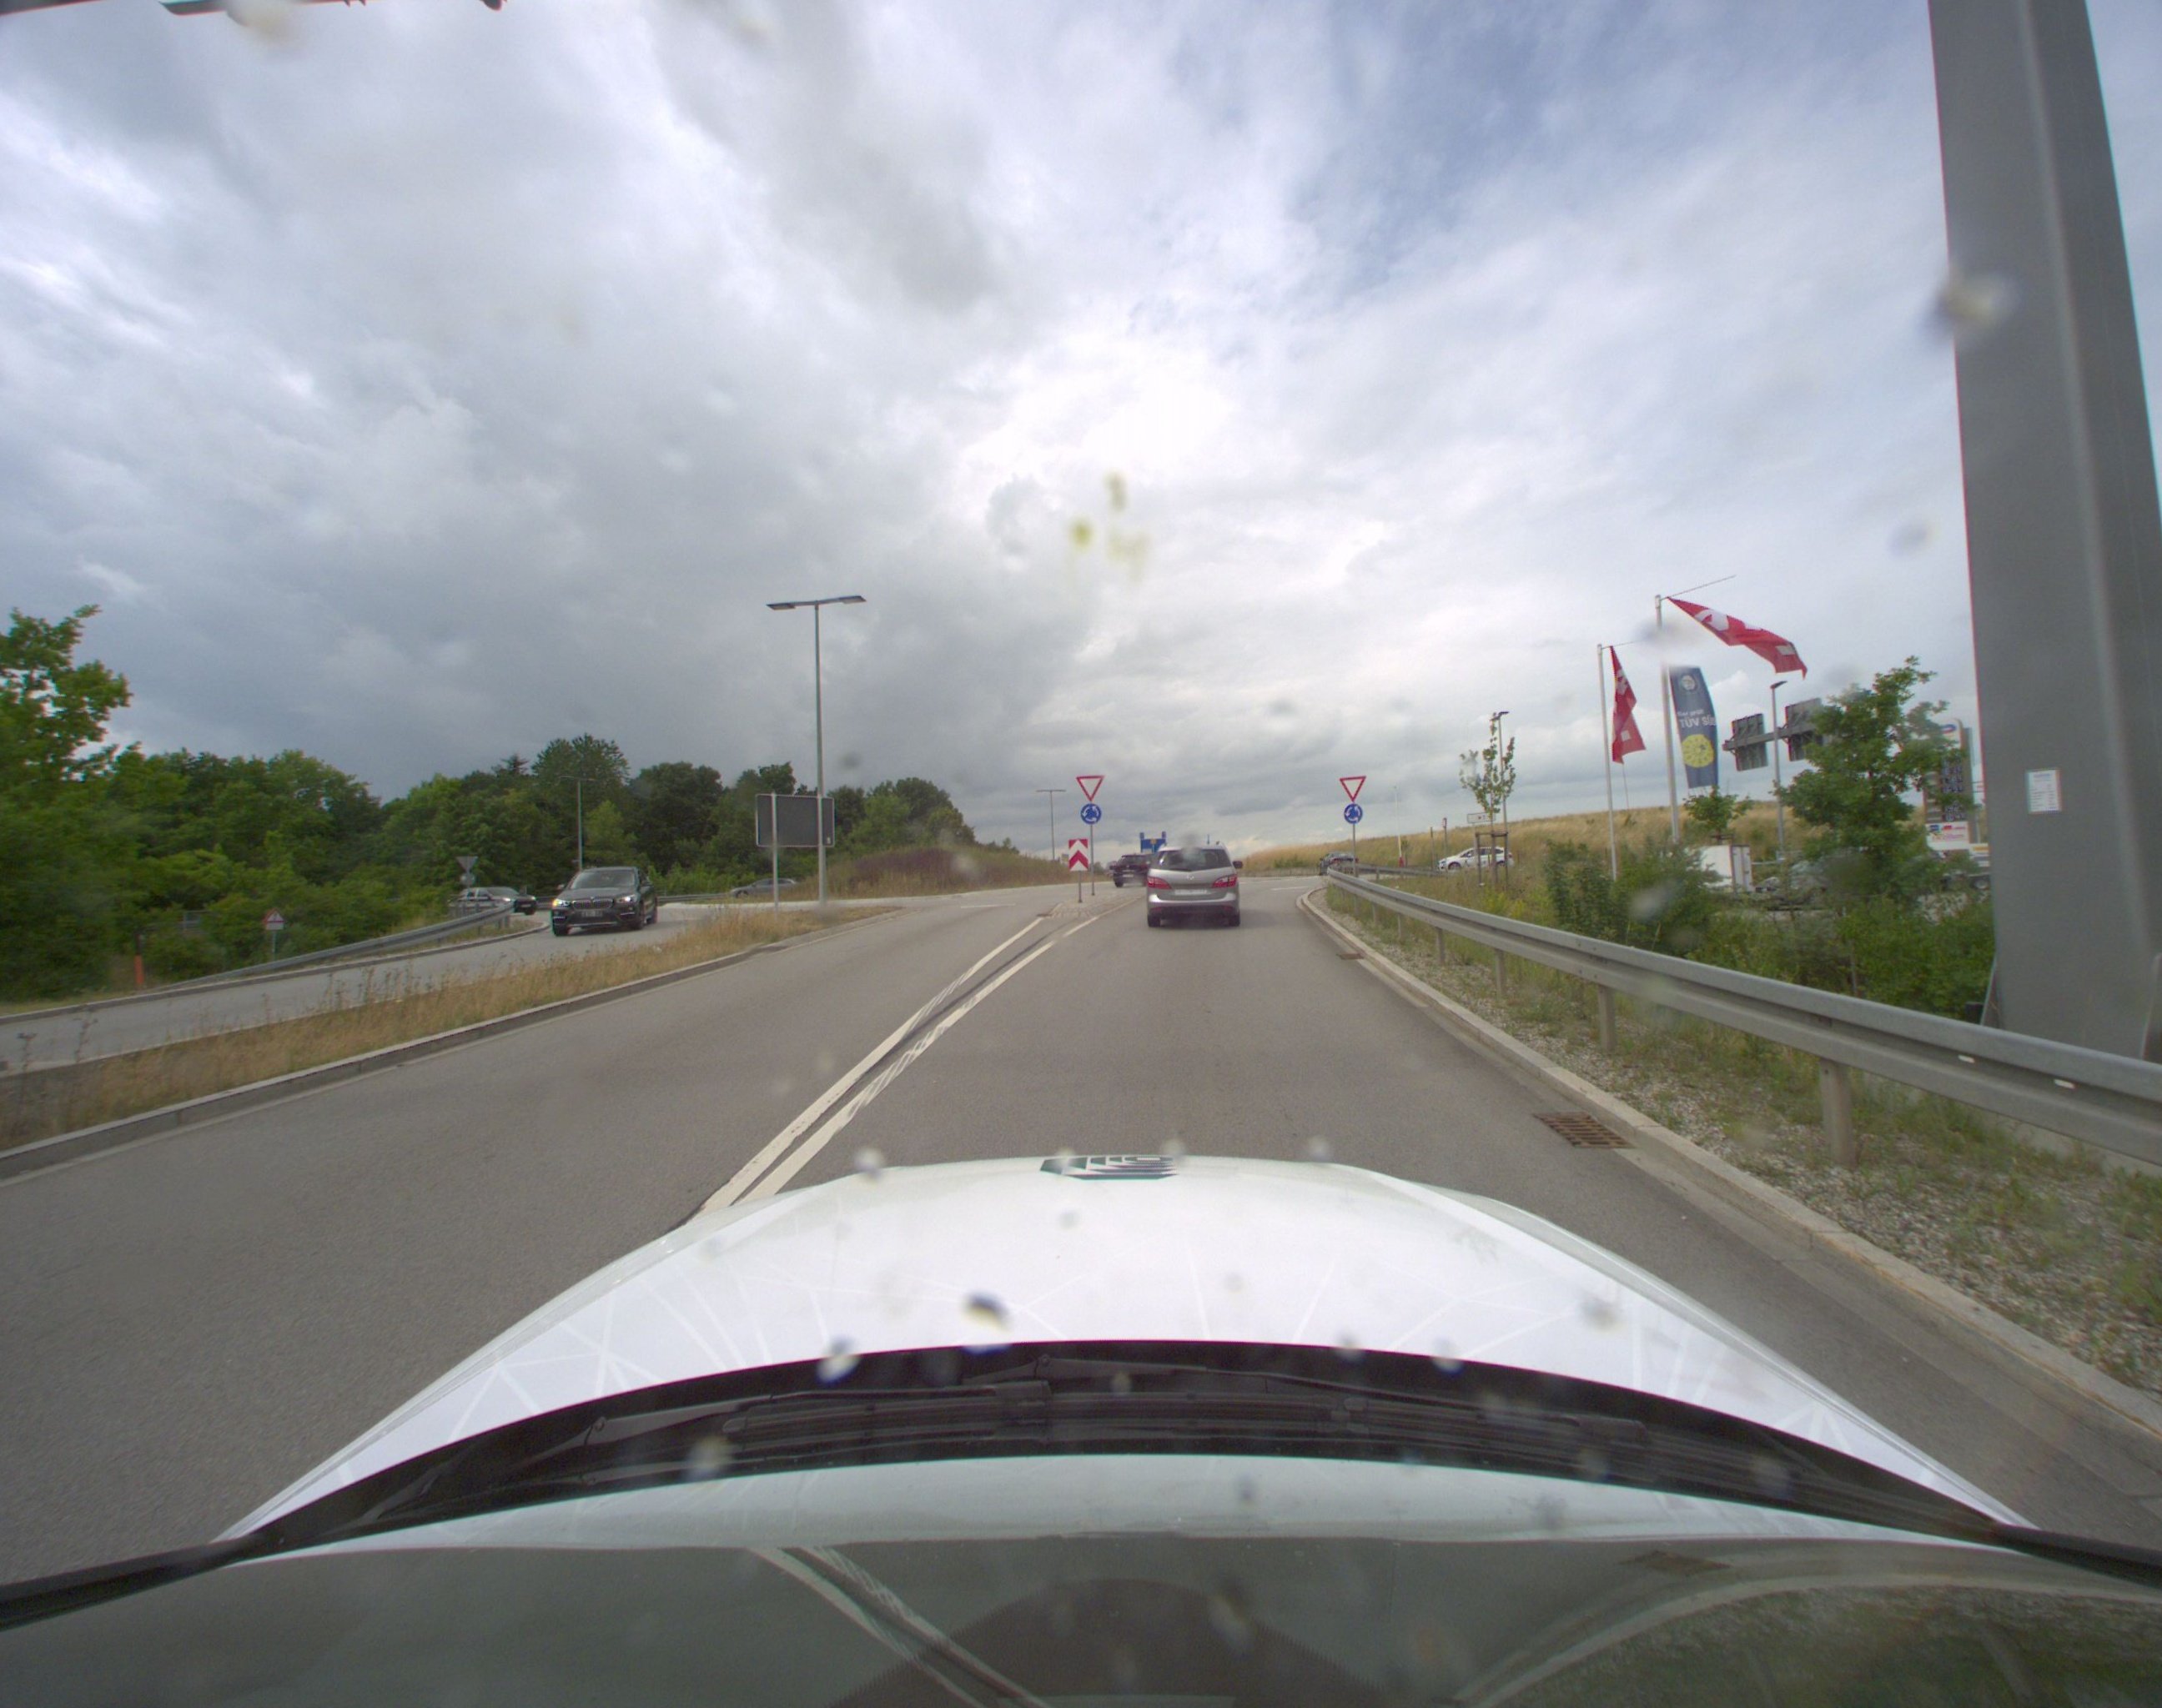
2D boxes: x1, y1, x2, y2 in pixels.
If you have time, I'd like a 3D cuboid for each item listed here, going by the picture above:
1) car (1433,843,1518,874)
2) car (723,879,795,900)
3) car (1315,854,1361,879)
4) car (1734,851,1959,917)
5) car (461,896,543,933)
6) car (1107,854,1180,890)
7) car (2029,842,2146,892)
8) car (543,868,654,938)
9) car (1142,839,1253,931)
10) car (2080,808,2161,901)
[{"bbox_3d":[23.947,0.295,49.602,4.379,1.629,1.792,-3,-1,16],"label":"car"},{"bbox_3d":[-22.546,2.495,57.016,4.487,1.175,1.619,-3,-1,-27],"label":"car"},{"bbox_3d":[14.569,0.711,46.331,1.591,1.288,4.050,-3,-1,4],"label":"car"},{"bbox_3d":[22.465,0.864,24.029,4.807,1.675,1.964,-2,-2,-2],"label":"car"},{"bbox_3d":[-31.895,3.318,44.802,4.985,1.791,2.119,-4,-1,36],"label":"car"},{"bbox_3d":[2.777,0.751,35.478,1.646,1.378,4.024,-4,-1,27],"label":"car"},{"bbox_3d":[34.244,0.498,27.832,1.893,1.574,3.761,-2,-4,42],"label":"car"},{"bbox_3d":[-11.951,1.175,20.423,1.896,1.467,4.246,-3,-1,-25],"label":"car"},{"bbox_3d":[2.405,0.542,16.497,1.899,1.574,4.011,-2,0,10],"label":"car"},{"bbox_3d":[26.317,0.037,18.450,5.049,2.047,1.998,0,-2,-2],"label":"car"}]
